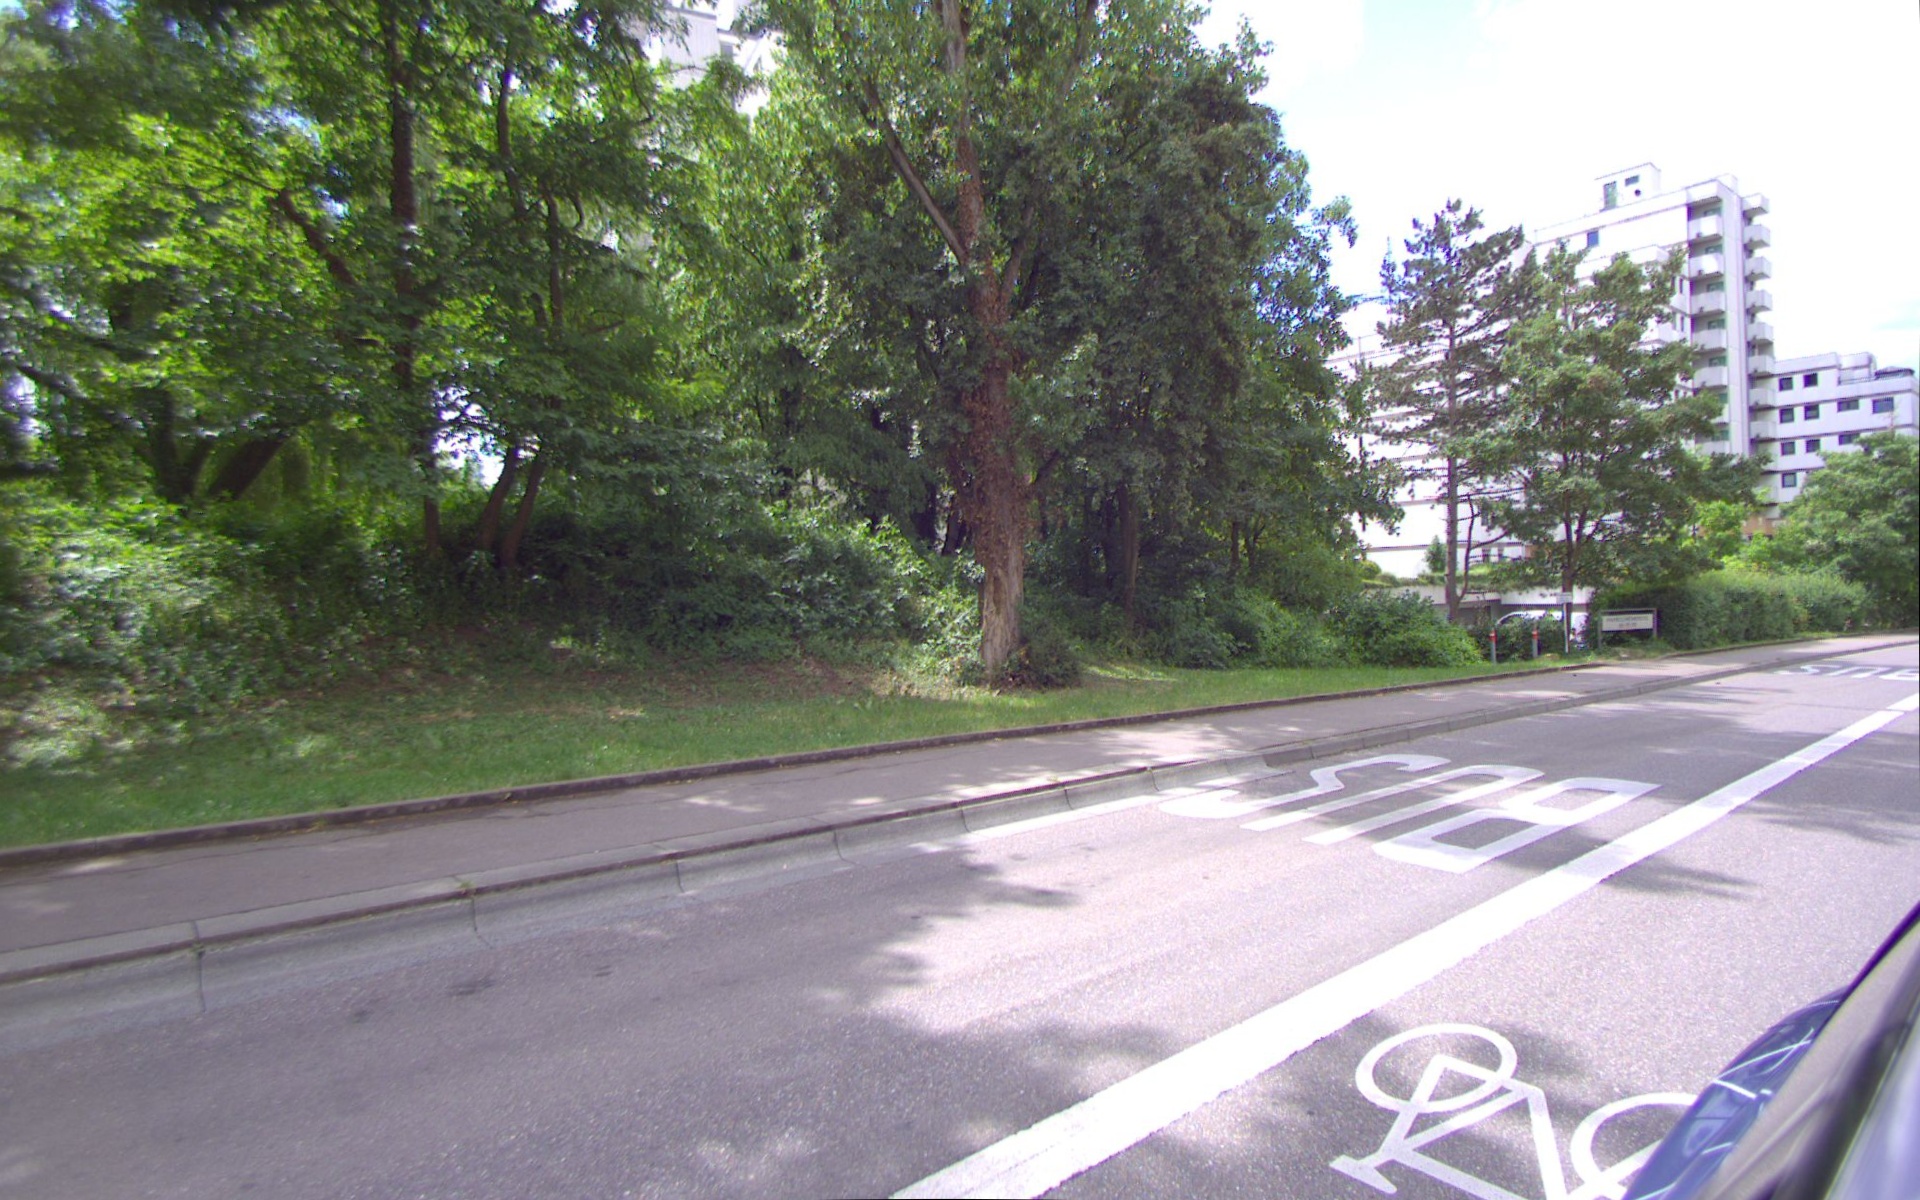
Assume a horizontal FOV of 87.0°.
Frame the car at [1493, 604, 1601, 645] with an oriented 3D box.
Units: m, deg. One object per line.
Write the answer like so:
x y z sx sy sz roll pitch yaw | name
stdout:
31.039 1.228 53.642 1.962 2.039 4.549 -1 0 -34 | car
